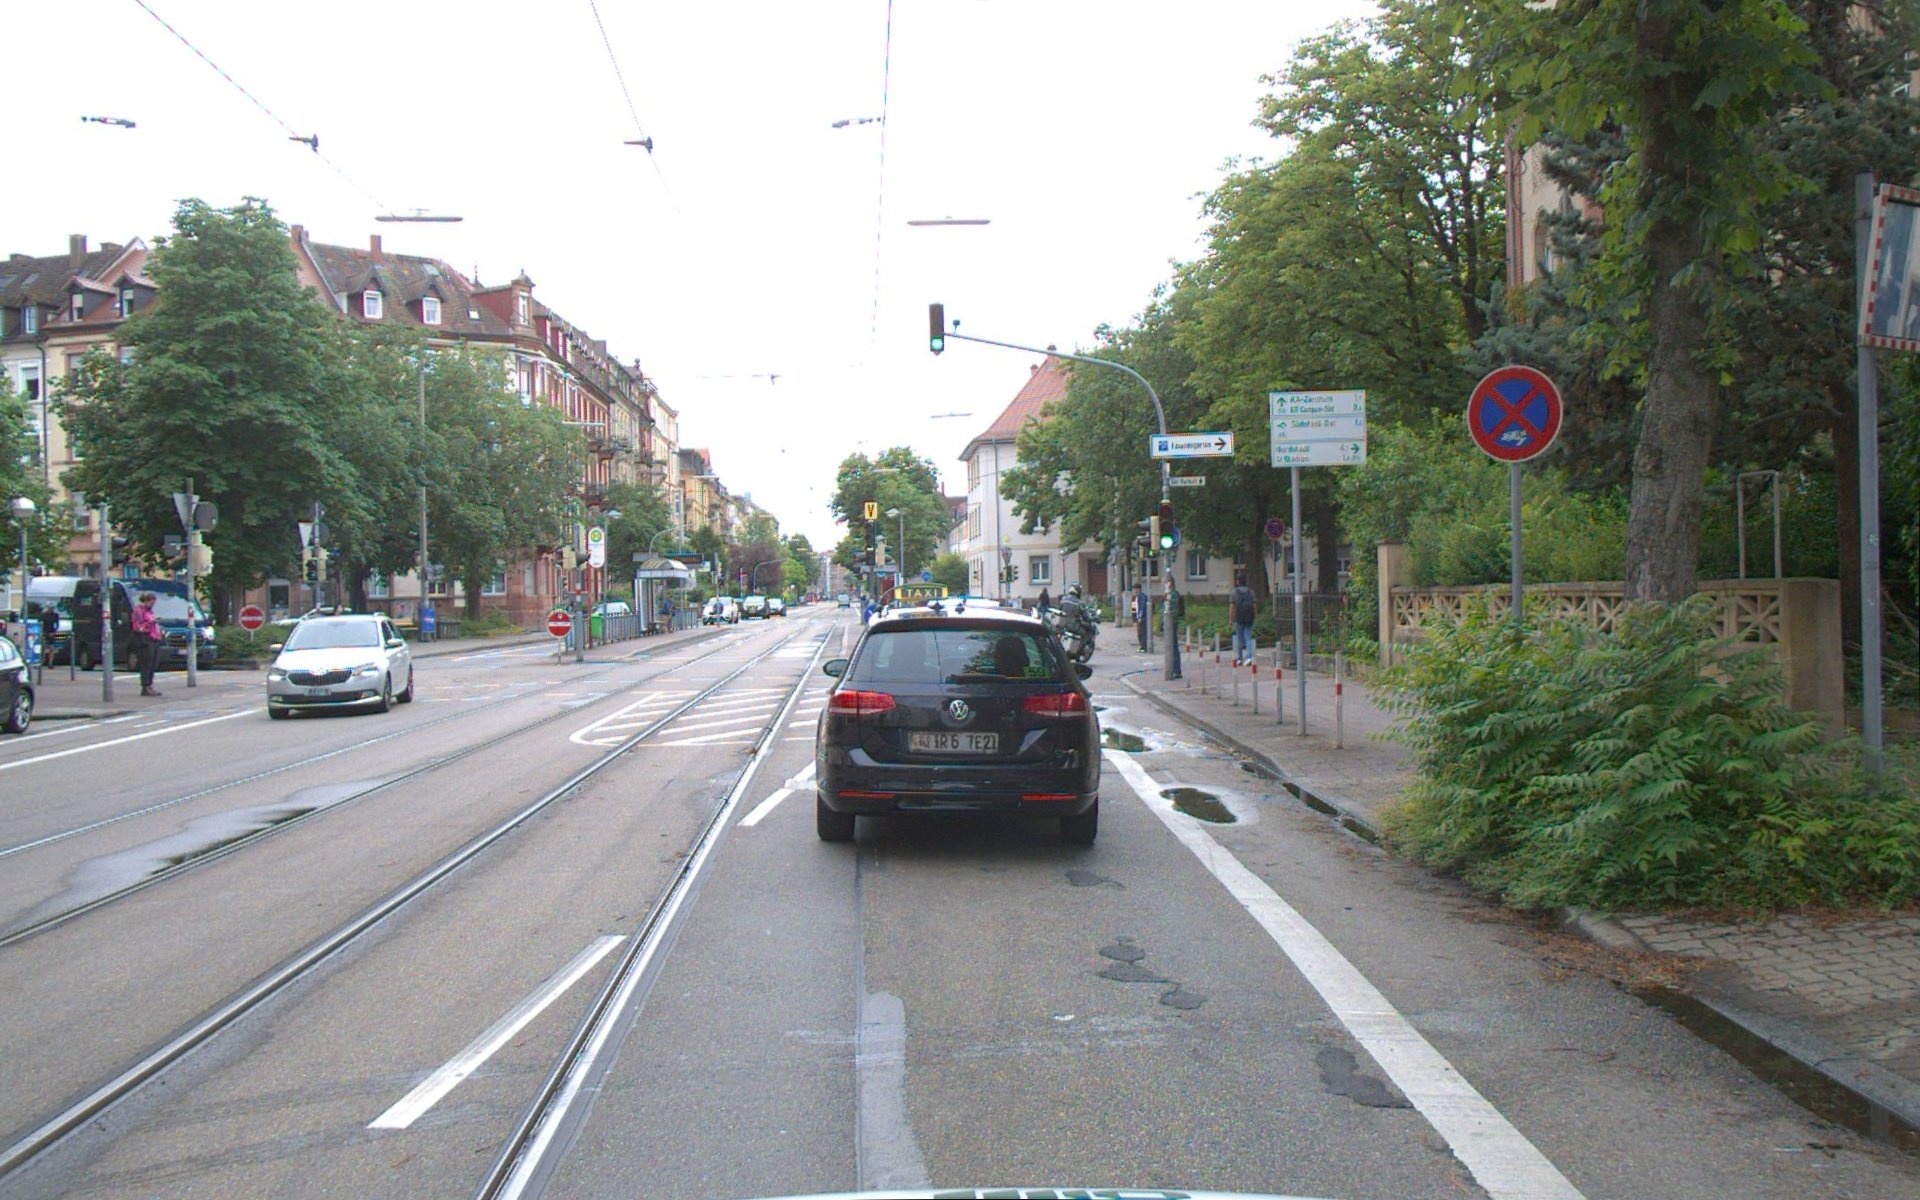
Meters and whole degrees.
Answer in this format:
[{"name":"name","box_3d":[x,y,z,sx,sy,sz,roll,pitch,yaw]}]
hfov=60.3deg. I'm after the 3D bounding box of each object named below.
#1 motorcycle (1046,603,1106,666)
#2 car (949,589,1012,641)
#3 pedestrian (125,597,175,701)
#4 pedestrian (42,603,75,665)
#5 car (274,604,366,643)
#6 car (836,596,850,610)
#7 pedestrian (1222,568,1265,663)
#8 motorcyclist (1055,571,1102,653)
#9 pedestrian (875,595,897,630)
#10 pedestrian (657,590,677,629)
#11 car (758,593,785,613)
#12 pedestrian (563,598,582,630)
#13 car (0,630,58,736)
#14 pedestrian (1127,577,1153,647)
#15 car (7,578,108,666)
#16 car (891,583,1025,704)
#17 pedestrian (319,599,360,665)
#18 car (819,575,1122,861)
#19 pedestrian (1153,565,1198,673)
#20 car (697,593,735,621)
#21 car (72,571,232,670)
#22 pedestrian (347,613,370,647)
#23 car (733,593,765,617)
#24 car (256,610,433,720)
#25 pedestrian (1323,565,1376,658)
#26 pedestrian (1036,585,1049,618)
[{"name":"motorcycle","box_3d":[2.472,0.722,35.061,0.438,1.257,1.903,-1,0,31]},{"name":"car","box_3d":[0.618,0.452,52.541,1.689,1.573,3.997,-1,0,-3]},{"name":"pedestrian","box_3d":[-14.897,0.892,30.442,0.611,1.874,0.609,-1,0,-6]},{"name":"pedestrian","box_3d":[-25.751,0.956,47.258,0.694,1.745,0.543,-1,0,-44]},{"name":"car","box_3d":[-29.868,1.082,77.211,3.807,1.651,1.710,-2,0,-28]},{"name":"car","box_3d":[-17.068,0.401,241.505,1.992,2.049,3.997,0,0,-3]},{"name":"pedestrian","box_3d":[5.656,0.302,33.025,0.620,1.846,0.725,-1,0,-6]},{"name":"motorcyclist","box_3d":[2.523,0.250,35.169,0.690,1.721,0.803,-1,0,31]},{"name":"pedestrian","box_3d":[-2.860,0.498,63.986,0.806,1.327,0.568,-1,0,-4]},{"name":"pedestrian","box_3d":[-11.959,0.387,67.461,0.700,1.547,0.589,-1,0,-2]},{"name":"car","box_3d":[-15.476,0.234,135.690,1.759,1.624,3.999,-2,0,-1]},{"name":"pedestrian","box_3d":[-19.007,0.699,81.128,0.577,1.547,0.647,-1,0,32]},{"name":"car","box_3d":[-13.672,1.129,21.796,1.617,1.385,4.124,1,0,-6]},{"name":"pedestrian","box_3d":[4.884,0.313,44.908,0.504,1.862,0.418,-4,0,-3]},{"name":"car","box_3d":[-28.235,0.661,51.673,2.161,2.571,5.313,-2,0,-35]},{"name":"car","box_3d":[-0.112,0.558,23.915,1.689,1.573,3.997,-1,0,-3]},{"name":"pedestrian","box_3d":[-16.284,0.825,43.429,0.820,1.692,0.591,-1,0,-2]},{"name":"car","box_3d":[-0.053,0.645,11.302,1.689,1.573,3.997,-1,0,-3]},{"name":"pedestrian","box_3d":[3.855,0.338,29.631,0.573,1.862,0.604,-4,0,-2]},{"name":"car","box_3d":[-14.931,0.415,101.281,1.759,1.624,3.999,-2,0,-1]},{"name":"car","box_3d":[-21.544,0.528,43.999,5.289,2.459,2.171,-1,0,45]},{"name":"pedestrian","box_3d":[-21.523,1.053,59.163,0.582,1.189,0.835,-1,0,-32]},{"name":"car","box_3d":[-14.992,0.349,117.667,1.759,1.624,3.999,-2,0,-1]},{"name":"car","box_3d":[-9.311,0.925,25.332,1.657,1.435,3.992,-3,0,-8]},{"name":"pedestrian","box_3d":[7.950,0.231,33.756,0.648,1.863,0.787,-1,0,-44]},{"name":"pedestrian","box_3d":[3.927,0.071,78.702,0.570,1.581,0.609,-1,0,-1]}]
